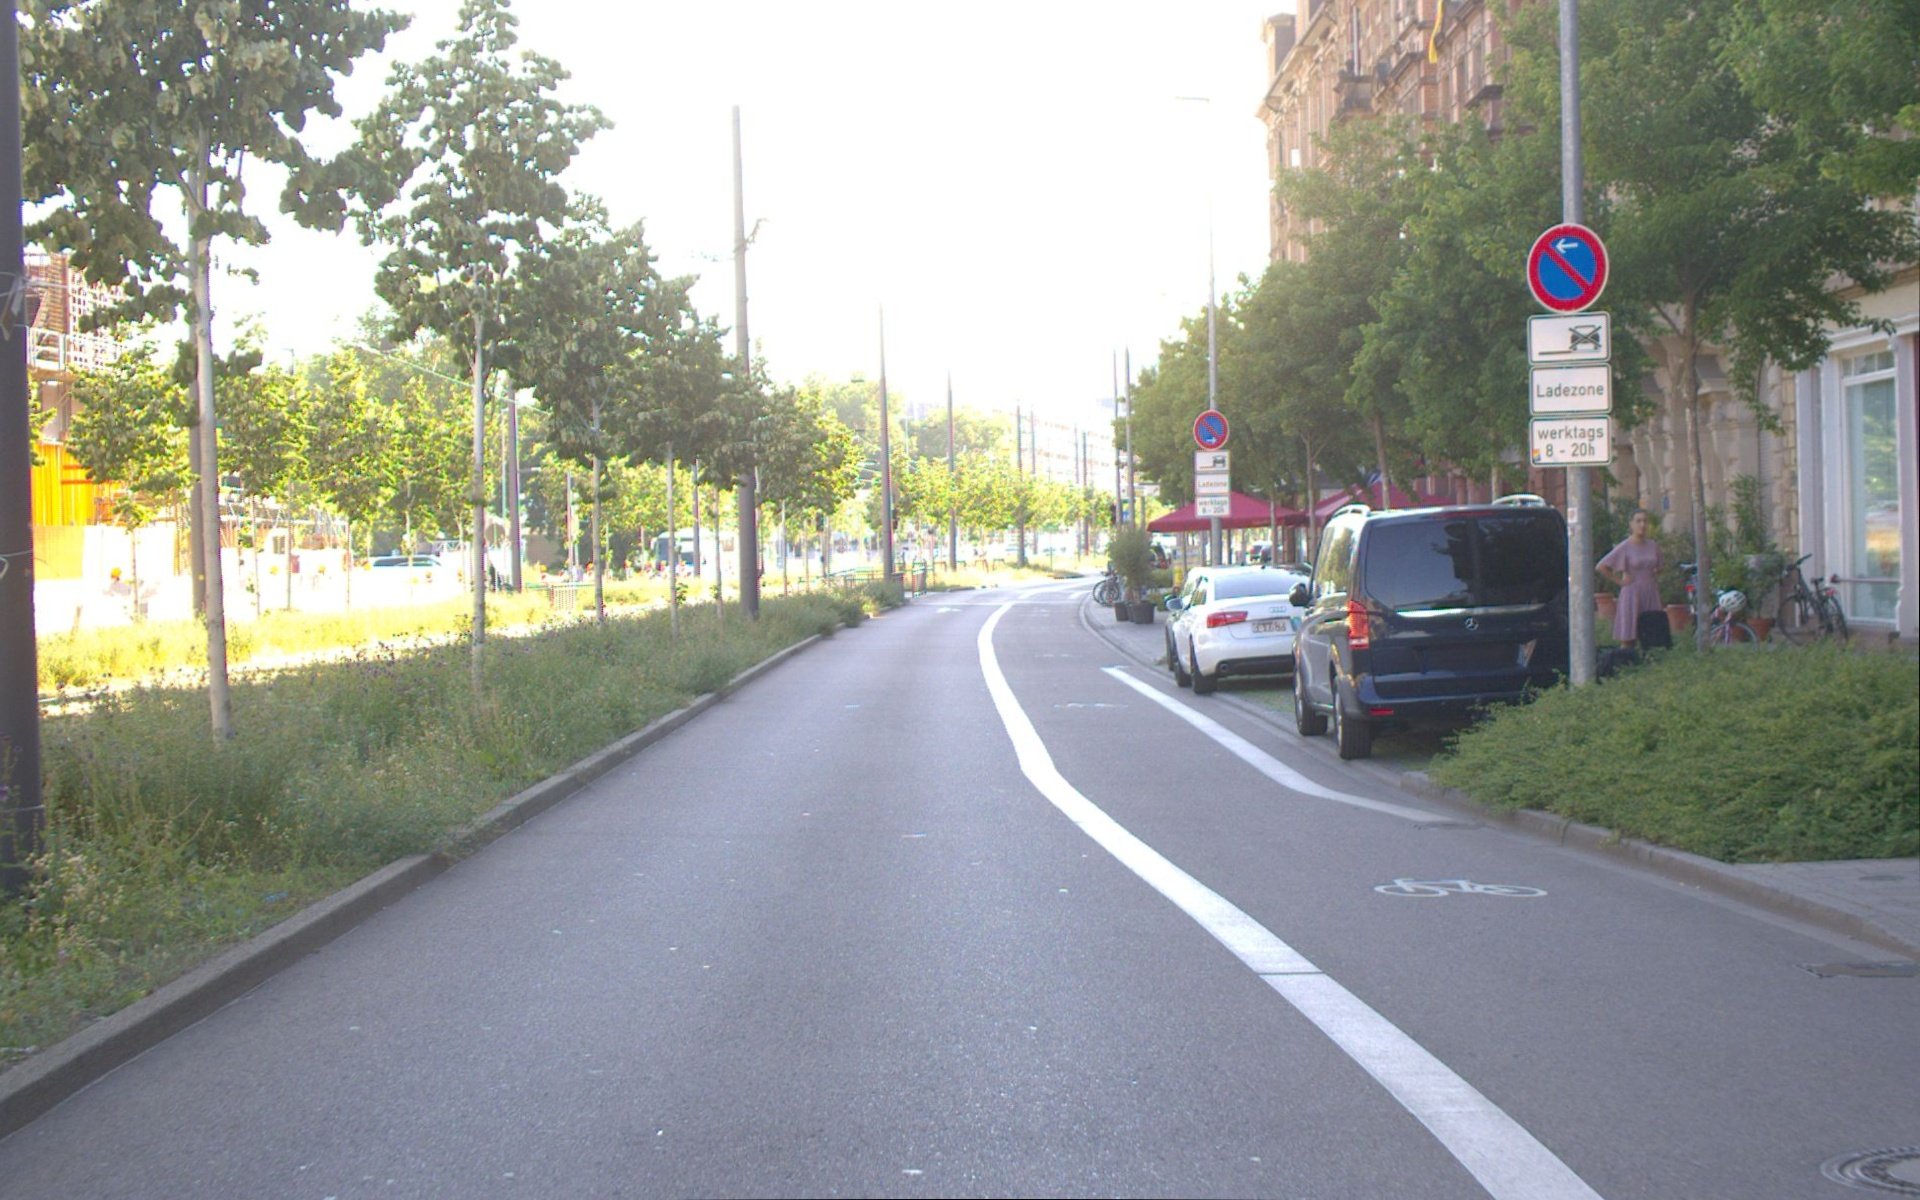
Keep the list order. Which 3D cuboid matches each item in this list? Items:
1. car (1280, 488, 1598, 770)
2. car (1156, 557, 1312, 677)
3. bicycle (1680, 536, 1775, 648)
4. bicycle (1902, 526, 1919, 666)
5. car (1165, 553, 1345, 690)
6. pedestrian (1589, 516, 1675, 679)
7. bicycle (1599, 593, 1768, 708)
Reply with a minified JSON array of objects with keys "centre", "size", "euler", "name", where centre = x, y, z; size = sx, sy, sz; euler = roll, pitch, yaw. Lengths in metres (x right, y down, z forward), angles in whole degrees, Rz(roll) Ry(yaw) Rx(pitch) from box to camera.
[{"centre":[3.722,0.154,27.476],"size":[1.885,1.930,4.473],"euler":[-4,1,2],"name":"car"},{"centre":[3.670,0.200,46.603],"size":[1.849,1.452,4.156],"euler":[-1,2,1],"name":"car"},{"centre":[10.081,-0.125,45.231],"size":[0.661,1.397,2.352],"euler":[-1,1,-1],"name":"bicycle"},{"centre":[9.949,-0.024,33.851],"size":[0.661,1.397,2.352],"euler":[-1,1,-1],"name":"bicycle"},{"centre":[3.454,0.214,40.890],"size":[1.849,1.452,4.156],"euler":[-1,2,1],"name":"car"},{"centre":[6.087,-0.027,31.152],"size":[0.625,1.455,0.638],"euler":[-1,1,0],"name":"pedestrian"},{"centre":[7.268,0.488,34.717],"size":[1.081,1.081,2.770],"euler":[-1,1,-1],"name":"bicycle"}]
